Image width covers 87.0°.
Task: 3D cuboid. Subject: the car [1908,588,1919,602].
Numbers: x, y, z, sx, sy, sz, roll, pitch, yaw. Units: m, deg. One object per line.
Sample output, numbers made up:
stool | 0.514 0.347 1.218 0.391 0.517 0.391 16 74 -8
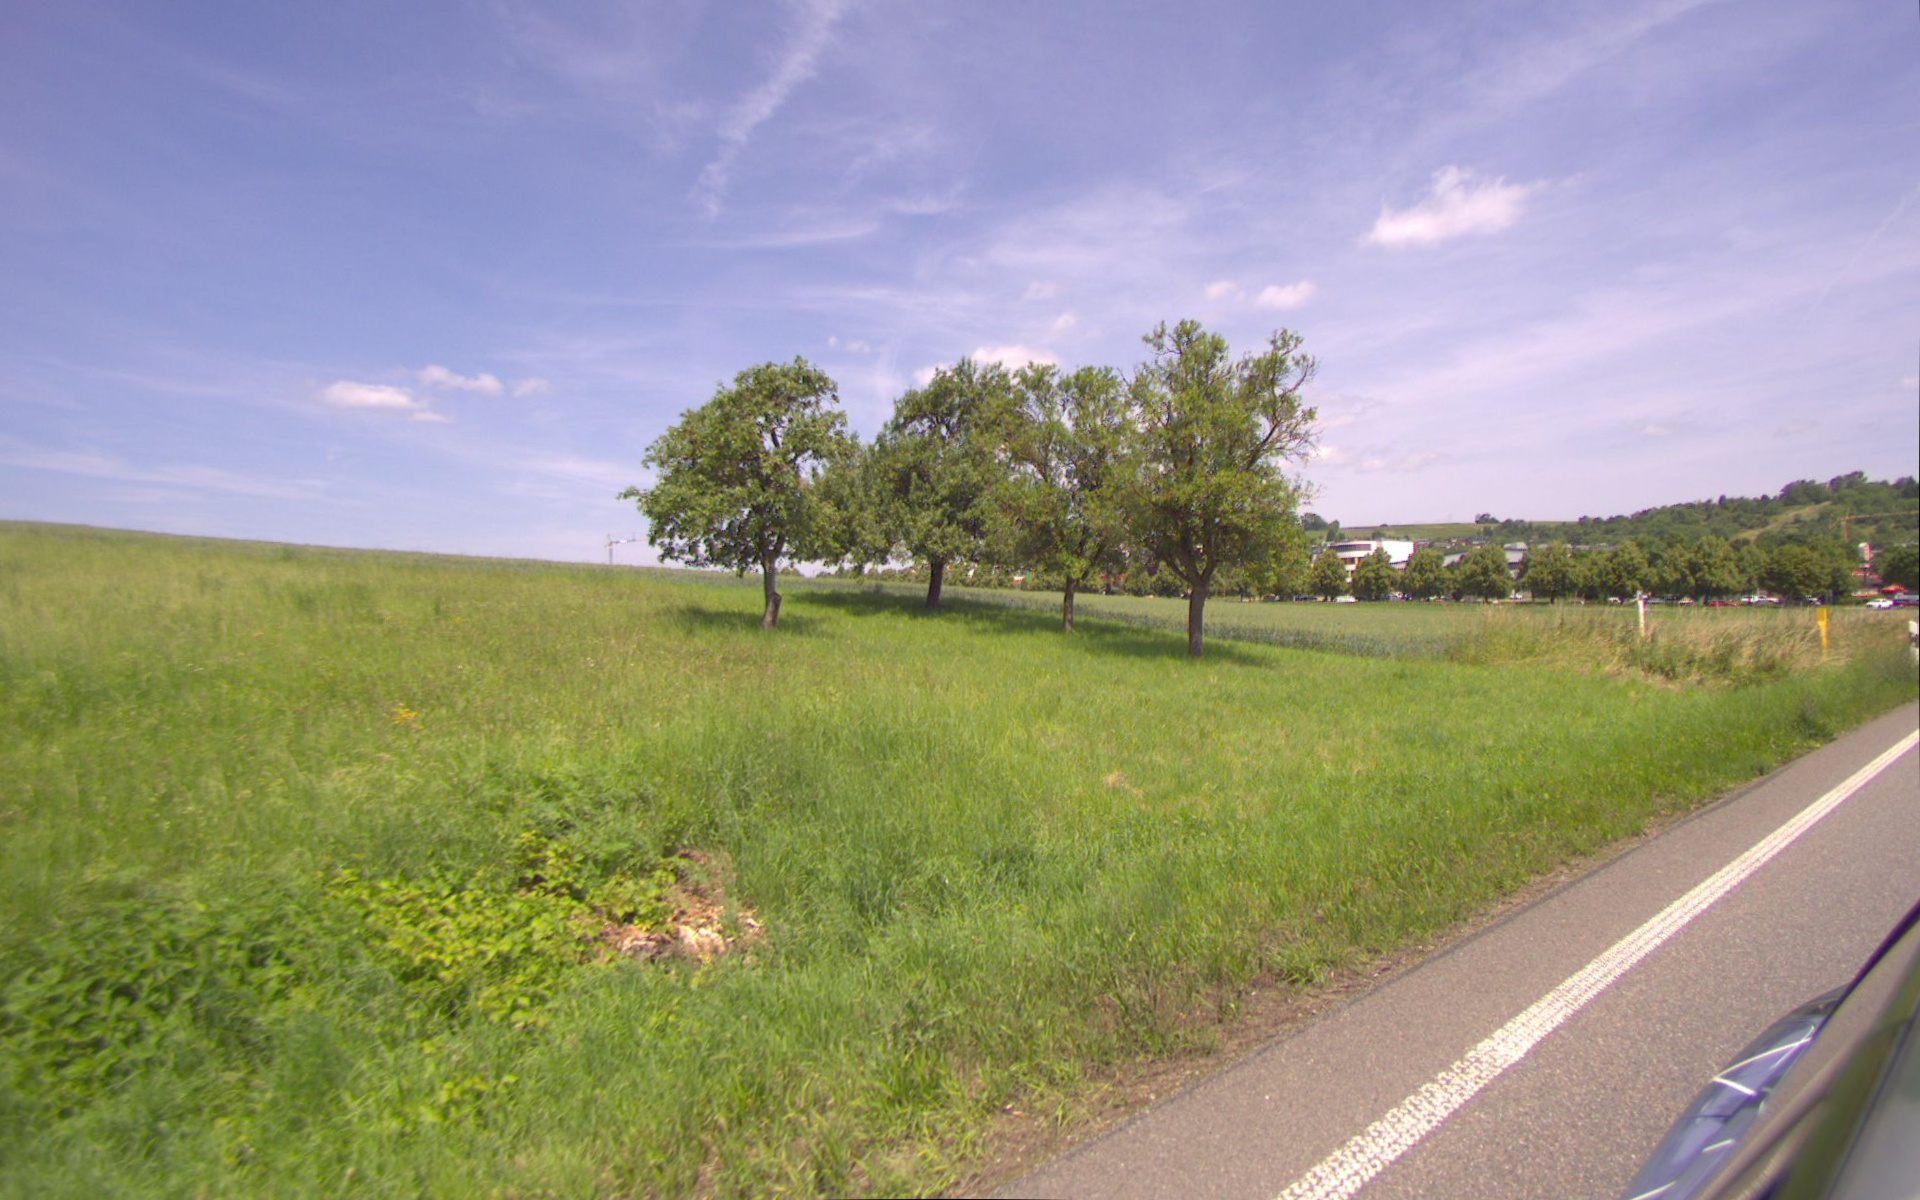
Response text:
car | 147.157 -0.783 153.839 1.857 2.038 4.460 -1 2 -44
